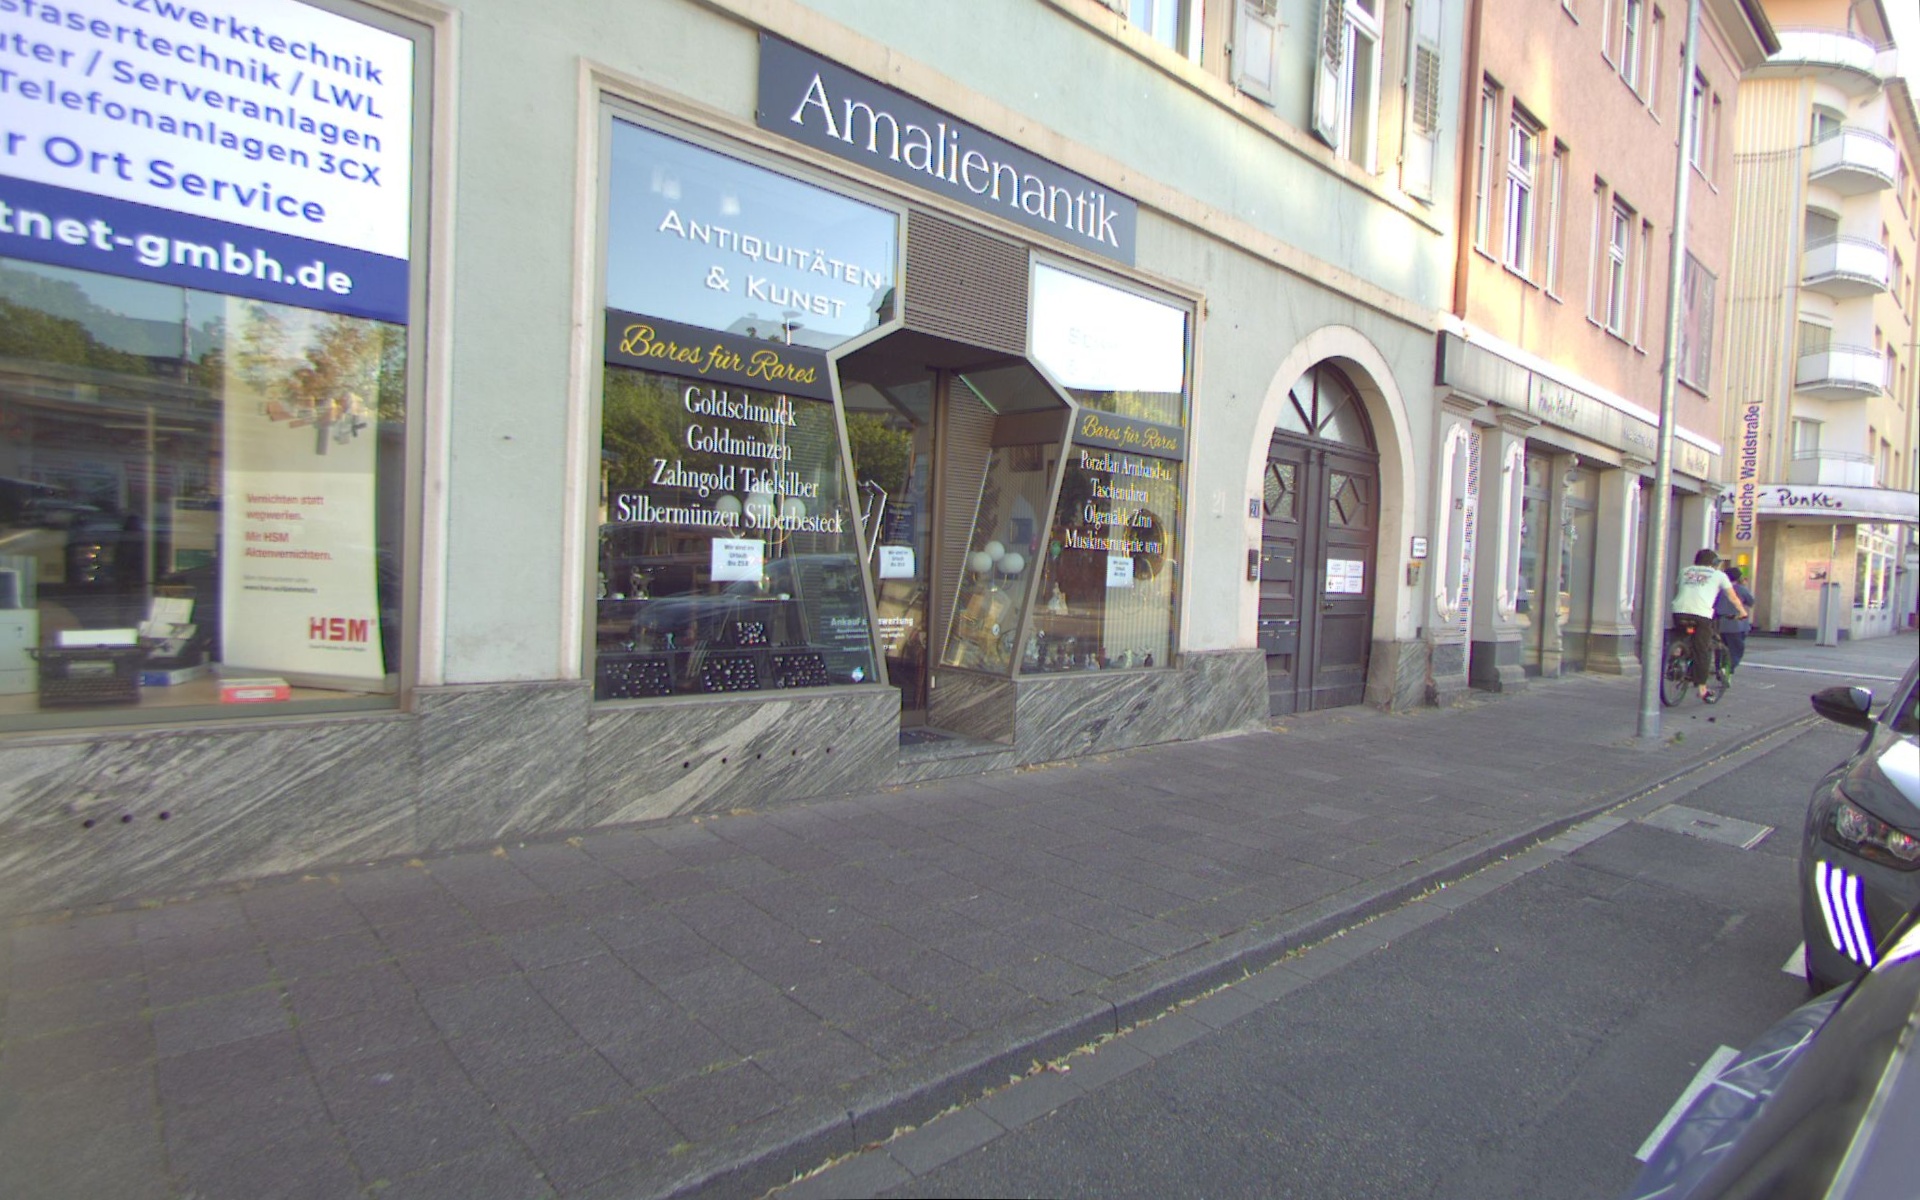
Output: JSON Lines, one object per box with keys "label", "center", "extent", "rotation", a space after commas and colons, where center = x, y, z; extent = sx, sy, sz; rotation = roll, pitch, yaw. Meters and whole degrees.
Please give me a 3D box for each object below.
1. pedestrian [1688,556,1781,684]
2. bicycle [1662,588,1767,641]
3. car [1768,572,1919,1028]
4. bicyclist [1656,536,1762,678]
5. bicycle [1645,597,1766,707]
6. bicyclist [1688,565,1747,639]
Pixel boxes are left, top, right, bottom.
{"label": "pedestrian", "center": [10.611, 0.254, 13.867], "extent": [0.857, 1.662, 0.824], "rotation": [0, 3, -43]}
{"label": "bicycle", "center": [18.353, 0.335, 24.671], "extent": [0.690, 1.131, 1.926], "rotation": [1, 2, -24]}
{"label": "car", "center": [5.095, 0.668, 4.341], "extent": [4.374, 1.464, 1.906], "rotation": [0, 2, -43]}
{"label": "bicyclist", "center": [8.509, 0.060, 11.498], "extent": [0.884, 1.526, 0.723], "rotation": [1, 2, -40]}
{"label": "bicycle", "center": [8.512, 0.546, 11.527], "extent": [1.863, 1.121, 0.691], "rotation": [0, 2, -42]}
{"label": "bicyclist", "center": [18.402, 0.049, 24.587], "extent": [0.838, 1.745, 0.780], "rotation": [1, 2, -26]}
